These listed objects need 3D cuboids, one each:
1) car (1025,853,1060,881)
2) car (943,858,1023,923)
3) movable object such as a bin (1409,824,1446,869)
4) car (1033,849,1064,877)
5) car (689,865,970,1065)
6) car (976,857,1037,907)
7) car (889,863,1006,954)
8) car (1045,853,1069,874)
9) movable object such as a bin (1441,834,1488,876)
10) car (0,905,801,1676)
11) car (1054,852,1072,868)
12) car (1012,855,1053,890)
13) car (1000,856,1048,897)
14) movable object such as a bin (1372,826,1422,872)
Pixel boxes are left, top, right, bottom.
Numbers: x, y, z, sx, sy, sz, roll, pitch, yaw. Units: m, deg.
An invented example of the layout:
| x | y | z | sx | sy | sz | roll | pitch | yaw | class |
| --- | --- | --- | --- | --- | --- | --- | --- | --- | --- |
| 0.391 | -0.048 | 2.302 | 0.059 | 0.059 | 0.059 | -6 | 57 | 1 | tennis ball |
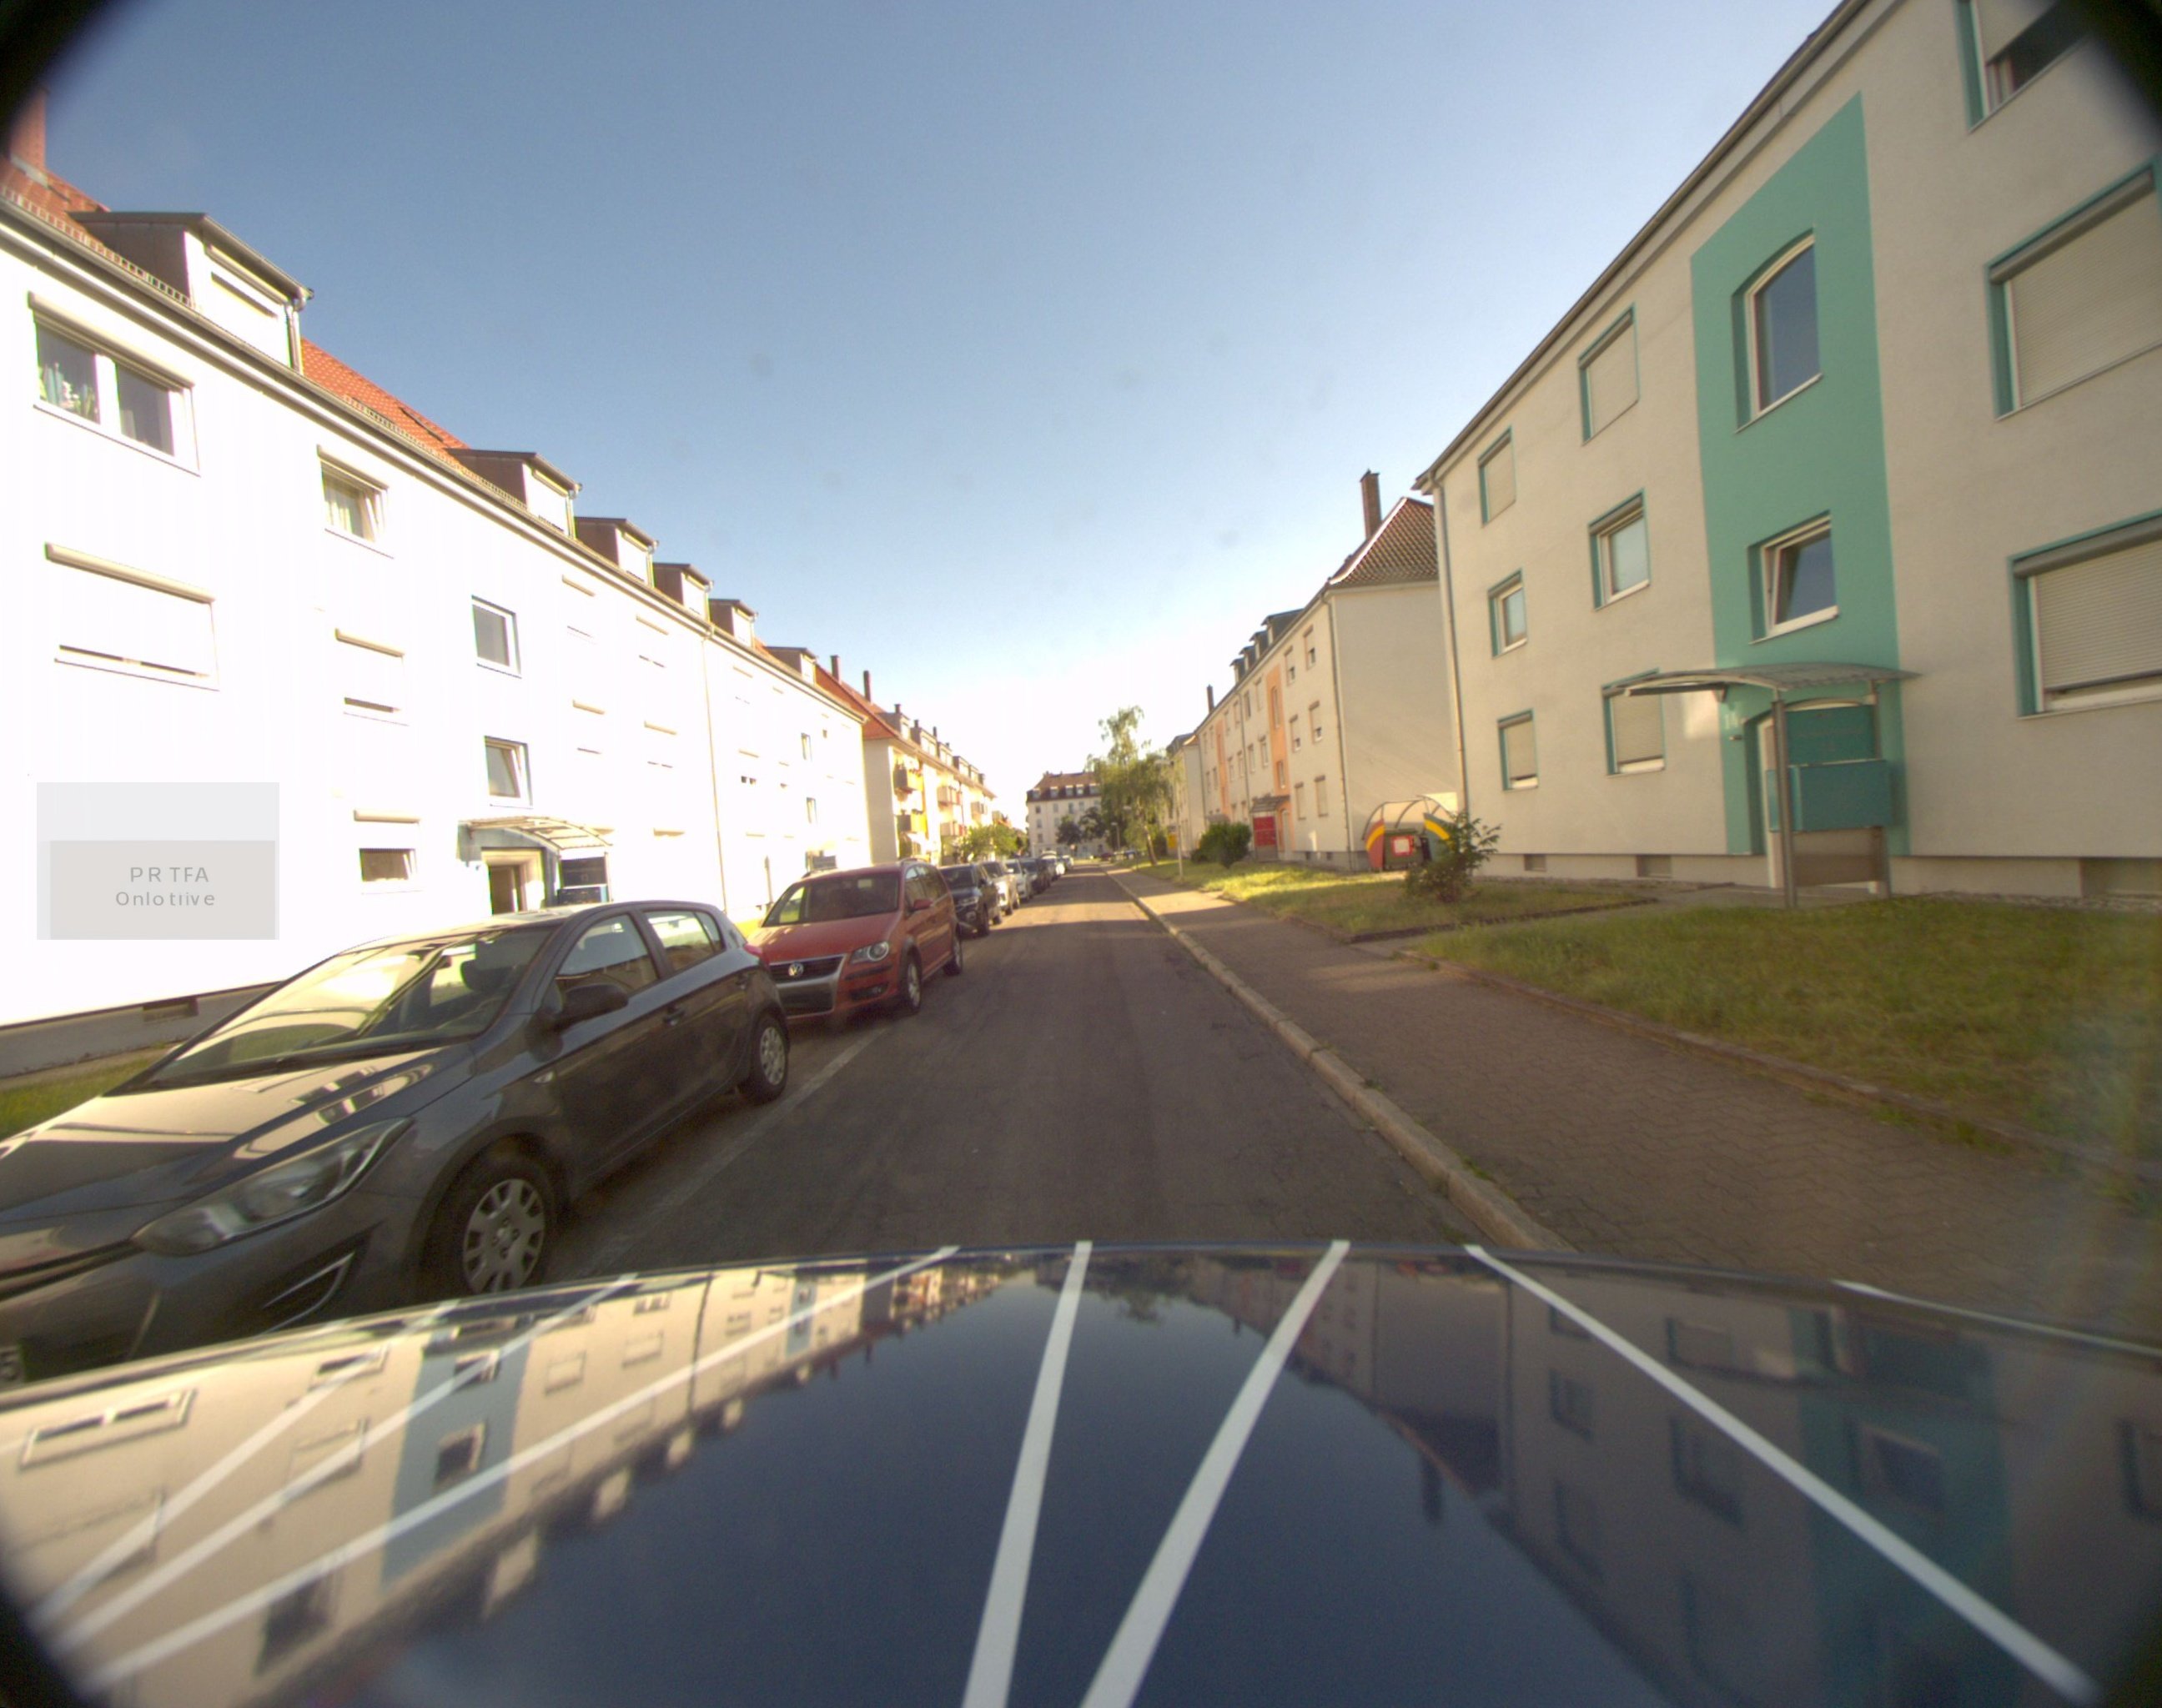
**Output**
| x | y | z | sx | sy | sz | roll | pitch | yaw | class |
| --- | --- | --- | --- | --- | --- | --- | --- | --- | --- |
| -2.469 | 0.818 | 50.068 | 1.708 | 1.562 | 4.381 | -4 | 1 | 3 | car |
| -2.759 | 0.985 | 22.227 | 1.709 | 1.562 | 3.876 | -4 | 0 | 1 | car |
| 11.144 | -0.233 | 24.439 | 0.753 | 1.385 | 0.763 | -4 | 1 | 0 | movable object such as a bin |
| -2.409 | 0.664 | 58.224 | 1.953 | 1.890 | 4.763 | -4 | 1 | 1 | car |
| -2.591 | 1.039 | 9.062 | 1.731 | 1.597 | 4.423 | -4 | 0 | 1 | car |
| -2.659 | 0.976 | 28.076 | 1.709 | 1.562 | 4.041 | -4 | 0 | 1 | car |
| -2.817 | 1.090 | 16.885 | 1.709 | 1.516 | 3.876 | -7 | 0 | 1 | car |
| -2.029 | 0.759 | 65.104 | 1.708 | 1.562 | 4.734 | -4 | 1 | 1 | car |
| 9.838 | 0.031 | 19.512 | 0.753 | 1.006 | 0.763 | -4 | 1 | 1 | movable object such as a bin |
| -2.944 | 1.190 | 3.643 | 1.621 | 1.440 | 3.857 | -7 | 0 | 0 | car |
| -1.923 | 0.658 | 82.627 | 1.708 | 1.562 | 3.925 | -4 | 1 | 1 | car |
| -2.441 | 0.923 | 39.345 | 1.709 | 1.562 | 4.041 | -4 | 0 | 1 | car |
| -2.493 | 0.963 | 33.938 | 1.709 | 1.562 | 4.041 | -4 | 0 | 1 | car |
| 10.142 | -0.151 | 24.442 | 1.167 | 1.385 | 0.877 | -4 | 1 | 0 | movable object such as a bin |
